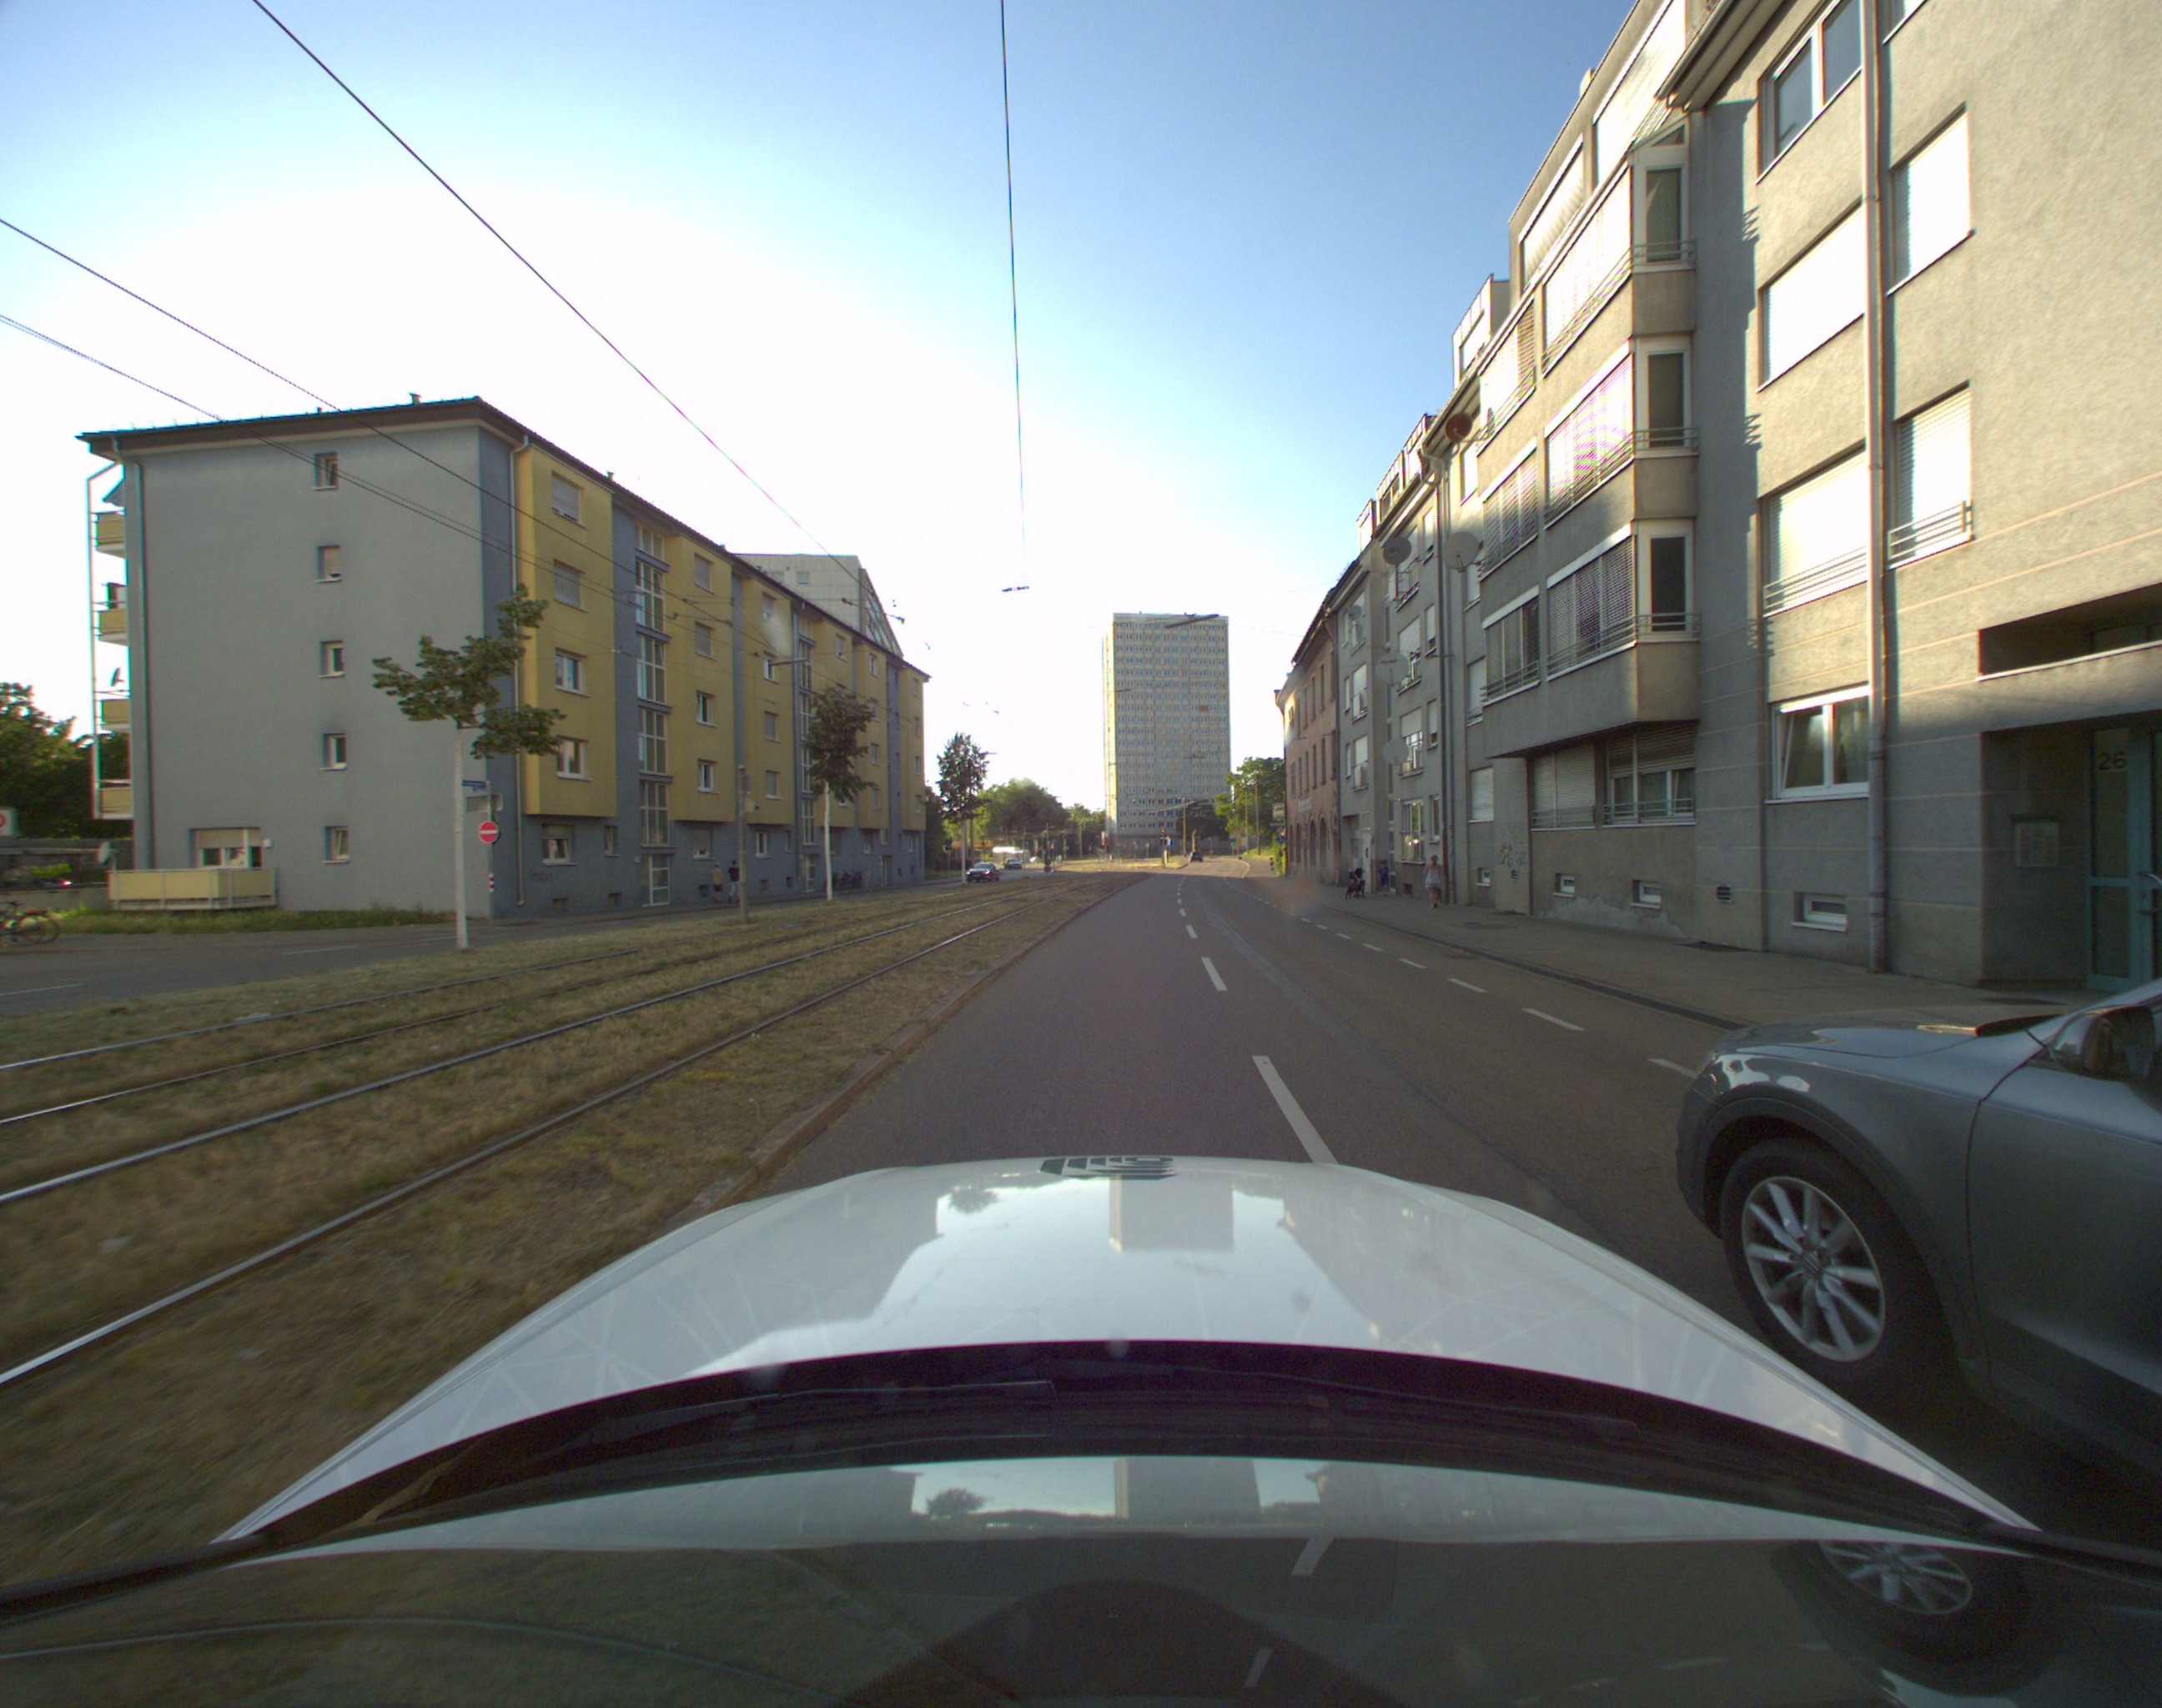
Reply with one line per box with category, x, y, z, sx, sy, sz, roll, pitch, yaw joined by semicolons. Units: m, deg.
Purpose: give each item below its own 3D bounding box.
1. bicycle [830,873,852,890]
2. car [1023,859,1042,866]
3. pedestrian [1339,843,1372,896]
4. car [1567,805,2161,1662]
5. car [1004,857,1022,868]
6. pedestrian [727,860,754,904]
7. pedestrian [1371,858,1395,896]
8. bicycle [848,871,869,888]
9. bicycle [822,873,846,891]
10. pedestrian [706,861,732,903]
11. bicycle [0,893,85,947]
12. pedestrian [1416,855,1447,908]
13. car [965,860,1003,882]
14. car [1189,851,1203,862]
bicycle;-13.675;1.557;46.491;0.424;0.925;1.916;2;0;8
car;-11.350;1.915;191.959;3.951;1.530;2.012;-1;0;25
pedestrian;9.431;0.524;28.027;0.825;1.771;0.998;-2;0;6
car;2.864;0.687;1.306;1.760;1.587;4.068;-1;1;0
car;-9.134;1.131;109.831;1.690;1.460;4.321;-3;-1;4
pedestrian;-14.275;1.153;34.176;0.590;1.773;0.887;3;1;6
pedestrian;10.284;0.776;27.748;0.584;1.251;0.586;-2;0;6
bicycle;-13.344;1.519;48.882;0.424;0.960;1.916;-1;0;8
bicycle;-13.697;1.555;45.211;0.424;0.925;1.916;2;0;8
pedestrian;-15.059;1.168;33.889;0.613;1.694;0.707;3;1;6
bicycle;-23.477;1.465;17.933;1.955;1.075;0.601;-1;3;-11
pedestrian;9.118;0.717;21.211;0.512;1.344;0.609;-2;-1;3
car;-7.375;1.282;62.495;1.784;1.469;4.803;-3;-1;6
car;15.811;0.366;111.900;1.762;1.422;3.865;-2;0;8
